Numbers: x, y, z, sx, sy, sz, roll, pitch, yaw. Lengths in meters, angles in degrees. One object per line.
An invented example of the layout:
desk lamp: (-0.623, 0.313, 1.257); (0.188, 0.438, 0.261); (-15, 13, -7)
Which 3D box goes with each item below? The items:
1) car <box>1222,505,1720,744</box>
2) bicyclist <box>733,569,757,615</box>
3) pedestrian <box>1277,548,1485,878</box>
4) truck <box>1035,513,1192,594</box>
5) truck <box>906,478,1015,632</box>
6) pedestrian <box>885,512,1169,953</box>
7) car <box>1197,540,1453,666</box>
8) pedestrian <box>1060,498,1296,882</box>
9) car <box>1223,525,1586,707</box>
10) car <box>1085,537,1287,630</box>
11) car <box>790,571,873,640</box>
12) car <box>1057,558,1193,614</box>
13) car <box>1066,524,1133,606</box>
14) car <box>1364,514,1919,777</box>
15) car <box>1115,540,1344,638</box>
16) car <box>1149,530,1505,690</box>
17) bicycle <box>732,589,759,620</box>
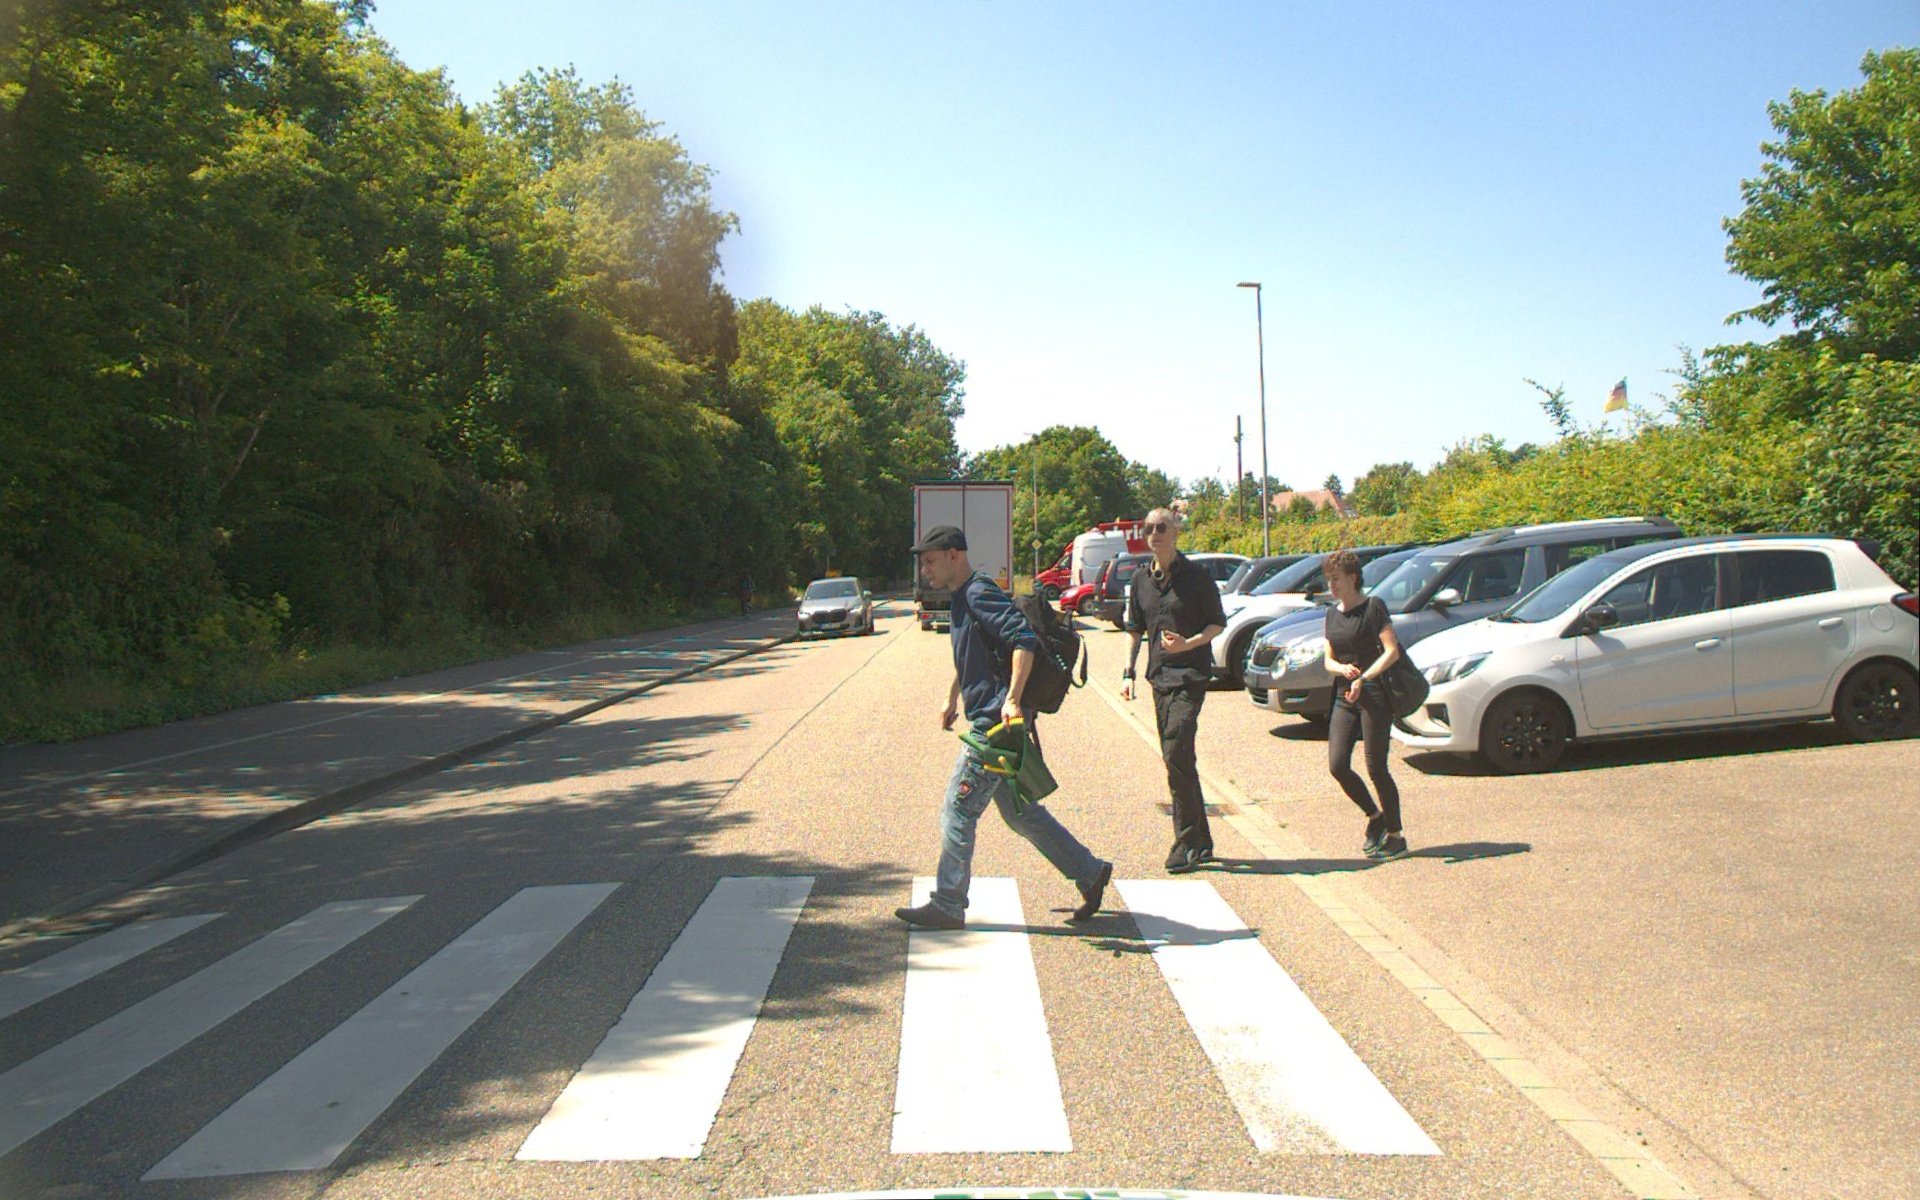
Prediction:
car: (4.550, 0.184, 15.023); (3.885, 1.668, 1.662); (-6, 1, -6)
bicyclist: (-7.673, -0.295, 59.084); (0.635, 1.592, 0.837); (-2, 1, 4)
pedestrian: (2.248, 0.556, 8.805); (0.766, 1.639, 0.892); (1, 0, 39)
truck: (7.182, -2.143, 76.965); (6.984, 3.499, 2.333); (-2, 2, 11)
truck: (0.093, -1.244, 48.082); (2.677, 3.811, 13.247); (-1, 1, 1)
pedestrian: (0.253, 0.533, 7.227); (1.132, 1.782, 1.022); (0, 0, -4)
car: (5.193, 0.022, 23.823); (3.317, 1.529, 1.589); (-4, 2, 3)
pedestrian: (1.179, 0.435, 8.849); (0.769, 1.897, 1.081); (2, 1, 39)
car: (4.764, 0.143, 17.956); (3.386, 1.553, 1.538); (-6, 1, -5)
car: (5.339, -0.405, 39.486); (4.366, 1.836, 1.951); (-4, 1, -4)
car: (-3.375, 0.098, 44.166); (1.853, 1.558, 4.196); (-6, 1, -1)
car: (5.199, -0.461, 52.398); (3.974, 1.458, 1.835); (-4, 1, -3)
car: (5.236, -1.340, 62.911); (1.914, 2.780, 7.169); (-4, 1, 1)
car: (4.995, 0.293, 12.153); (3.613, 1.475, 1.611); (-5, 1, 3)
car: (5.370, -0.230, 33.276); (4.191, 1.605, 1.765); (-4, 1, -2)
car: (4.544, 0.097, 20.821); (3.888, 1.549, 1.862); (-6, 1, -6)
bicycle: (-7.660, 0.138, 59.073); (0.549, 1.045, 1.840); (-2, 1, 4)
